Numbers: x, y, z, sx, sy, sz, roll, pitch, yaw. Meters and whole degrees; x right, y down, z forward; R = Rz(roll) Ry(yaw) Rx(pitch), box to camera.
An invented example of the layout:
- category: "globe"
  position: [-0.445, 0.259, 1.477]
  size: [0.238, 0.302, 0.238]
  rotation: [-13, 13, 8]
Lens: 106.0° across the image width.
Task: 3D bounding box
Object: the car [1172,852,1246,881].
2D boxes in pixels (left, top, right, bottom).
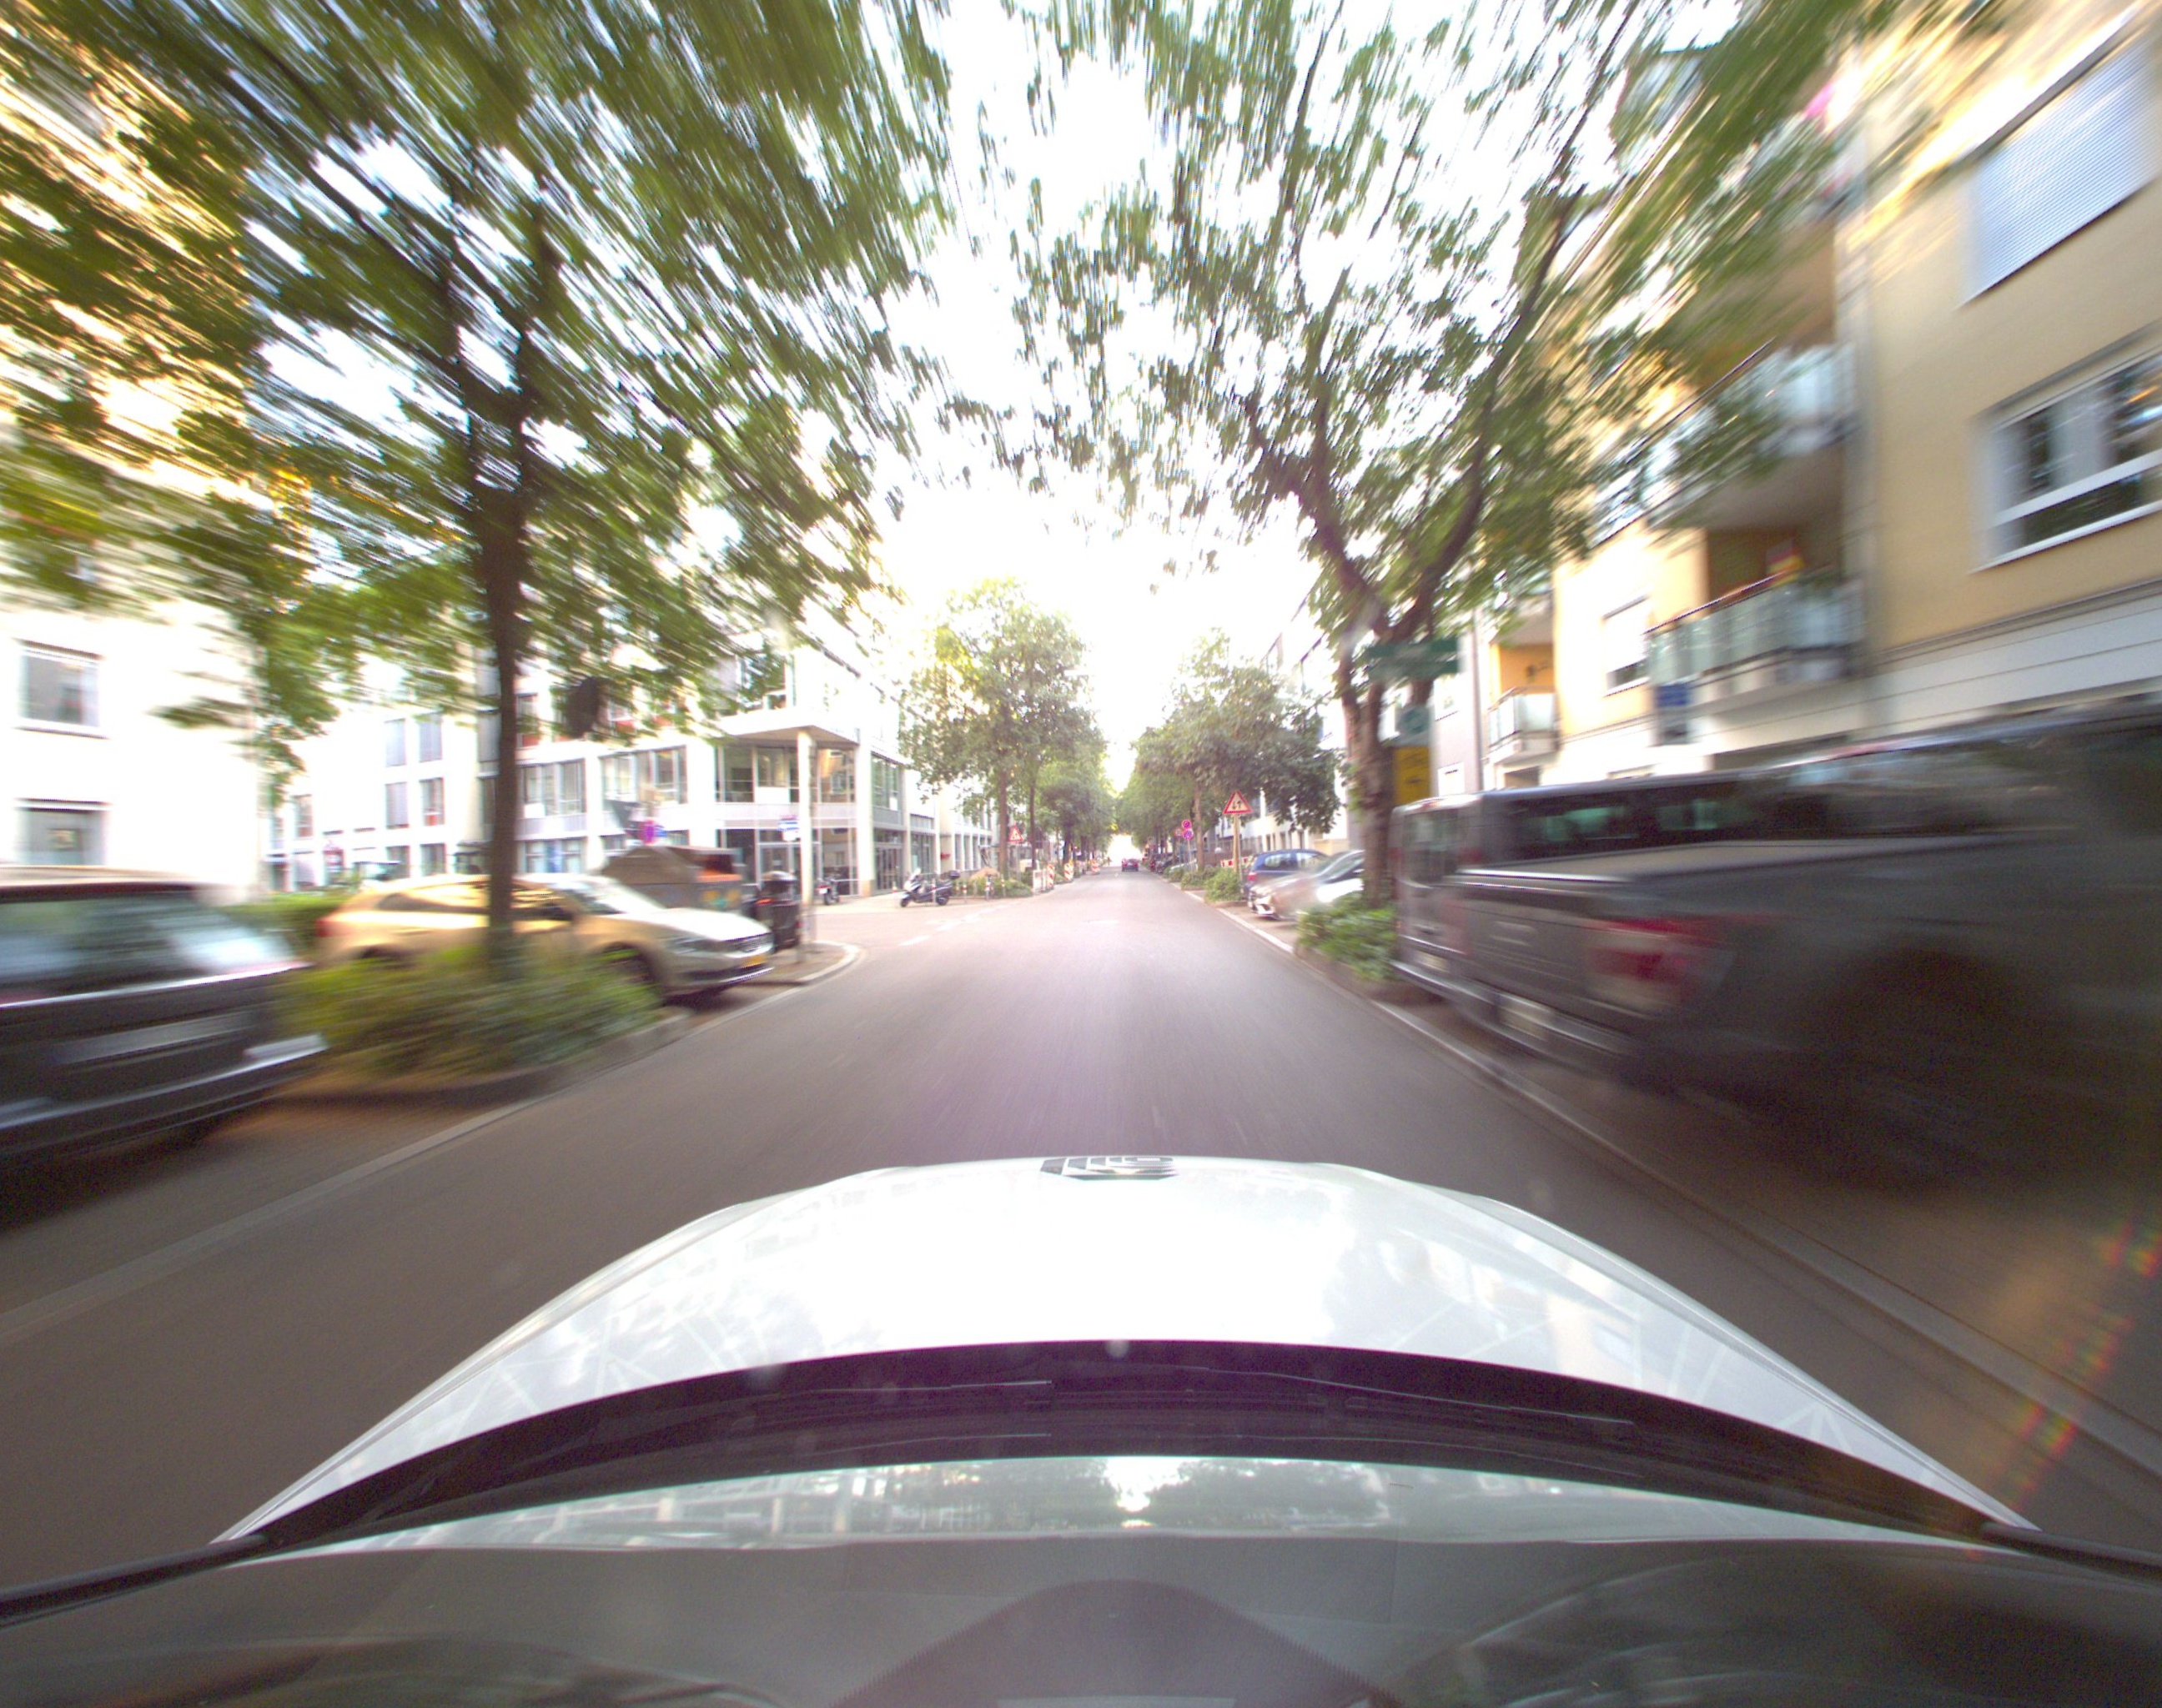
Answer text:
- category: "car"
  position: [7.926, 0.785, 50.862]
  size: [4.415, 1.591, 1.631]
  rotation: [-2, 0, 5]

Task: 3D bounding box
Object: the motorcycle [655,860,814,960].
- category: "motorcycle"
  position: [-5.516, 0.881, 13.030]
  size: [2.207, 1.494, 0.692]
  rotation: [-2, 0, 4]

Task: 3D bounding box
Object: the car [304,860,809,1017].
- category: "car"
  position: [-5.730, 0.870, 9.344]
  size: [4.479, 1.581, 2.057]
  rotation: [0, -1, 3]

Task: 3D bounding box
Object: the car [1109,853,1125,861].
- category: "car"
  position: [9.695, 0.874, 220.782]
  size: [3.981, 1.914, 1.774]
  rotation: [-2, 0, -5]

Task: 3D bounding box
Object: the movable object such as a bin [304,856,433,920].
- category: "movable object such as a bin"
  position: [-31.353, 1.498, 35.820]
  size: [5.474, 2.596, 2.186]
  rotation: [-3, -1, 25]

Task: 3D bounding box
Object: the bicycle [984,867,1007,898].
- category: "bicycle"
  position: [-3.439, 1.137, 33.032]
  size: [0.598, 1.118, 1.801]
  rotation: [-2, 0, 3]

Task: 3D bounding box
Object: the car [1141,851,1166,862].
- category: "car"
  position: [11.980, 0.453, 134.911]
  size: [3.975, 1.597, 1.999]
  rotation: [-2, 0, -1]

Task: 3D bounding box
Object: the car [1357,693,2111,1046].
- category: "car"
  position: [5.073, 0.130, 6.975]
  size: [4.601, 2.133, 2.038]
  rotation: [-6, -1, 2]

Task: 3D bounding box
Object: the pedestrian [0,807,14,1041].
- category: "pedestrian"
  position: [-8.511, 0.538, 5.964]
  size: [0.702, 1.788, 0.523]
  rotation: [-2, 0, -37]

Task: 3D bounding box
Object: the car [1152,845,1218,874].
- category: "car"
  position: [8.101, 0.421, 63.651]
  size: [4.951, 2.087, 1.739]
  rotation: [-2, 0, 3]

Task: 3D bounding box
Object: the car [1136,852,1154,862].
- category: "car"
  position: [14.041, 0.607, 178.982]
  size: [3.968, 2.013, 2.003]
  rotation: [-2, 0, 4]

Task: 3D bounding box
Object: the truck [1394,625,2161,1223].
- category: "truck"
  position: [5.130, 0.089, 4.254]
  size: [5.980, 2.133, 2.262]
  rotation: [-6, 0, 2]

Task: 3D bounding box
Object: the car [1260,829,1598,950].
- category: "car"
  position: [5.570, 0.557, 13.497]
  size: [4.779, 1.704, 1.836]
  rotation: [-2, 0, 1]

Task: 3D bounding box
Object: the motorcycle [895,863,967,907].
- category: "motorcycle"
  position: [-5.366, 1.079, 29.165]
  size: [2.390, 1.440, 0.793]
  rotation: [-2, 0, -37]

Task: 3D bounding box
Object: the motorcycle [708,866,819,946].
- category: "motorcycle"
  position: [-5.886, 0.940, 15.029]
  size: [2.195, 1.374, 0.728]
  rotation: [-2, -1, 33]

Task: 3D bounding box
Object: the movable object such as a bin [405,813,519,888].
- category: "movable object such as a bin"
  position: [-23.824, -0.096, 31.337]
  size: [4.059, 2.634, 1.813]
  rotation: [-3, 0, 27]

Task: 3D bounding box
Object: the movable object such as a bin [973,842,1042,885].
- category: "movable object such as a bin"
  position: [-4.238, 0.558, 47.664]
  size: [3.652, 2.333, 2.584]
  rotation: [-2, 0, 1]

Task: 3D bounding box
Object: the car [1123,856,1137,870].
- category: "car"
  position: [5.370, 1.011, 89.132]
  size: [1.494, 1.416, 3.716]
  rotation: [-2, 0, 3]

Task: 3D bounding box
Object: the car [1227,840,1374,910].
- category: "car"
  position: [5.639, 0.529, 21.263]
  size: [3.336, 1.526, 1.748]
  rotation: [-4, 0, 3]

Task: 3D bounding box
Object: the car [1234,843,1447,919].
- category: "car"
  position: [5.876, 0.586, 18.727]
  size: [4.273, 1.508, 1.868]
  rotation: [-2, 0, -6]

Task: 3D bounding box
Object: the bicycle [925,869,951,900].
- category: "bicycle"
  position: [-5.727, 1.196, 32.640]
  size: [0.598, 1.118, 1.801]
  rotation: [-2, 0, 3]

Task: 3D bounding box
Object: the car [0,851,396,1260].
- category: "car"
  position: [-6.621, 0.843, 4.212]
  size: [4.381, 1.684, 2.064]
  rotation: [0, 0, 0]

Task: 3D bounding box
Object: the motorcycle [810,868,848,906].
- category: "motorcycle"
  position: [-9.399, 1.215, 30.475]
  size: [0.611, 1.274, 2.127]
  rotation: [-2, 1, 2]

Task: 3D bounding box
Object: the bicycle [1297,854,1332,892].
- category: "bicycle"
  position: [7.913, 0.628, 27.608]
  size: [0.723, 1.172, 1.502]
  rotation: [-7, 0, 4]

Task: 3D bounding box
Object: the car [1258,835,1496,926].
- category: "car"
  position: [5.765, 0.507, 16.232]
  size: [4.053, 1.563, 1.854]
  rotation: [-2, 0, 1]
